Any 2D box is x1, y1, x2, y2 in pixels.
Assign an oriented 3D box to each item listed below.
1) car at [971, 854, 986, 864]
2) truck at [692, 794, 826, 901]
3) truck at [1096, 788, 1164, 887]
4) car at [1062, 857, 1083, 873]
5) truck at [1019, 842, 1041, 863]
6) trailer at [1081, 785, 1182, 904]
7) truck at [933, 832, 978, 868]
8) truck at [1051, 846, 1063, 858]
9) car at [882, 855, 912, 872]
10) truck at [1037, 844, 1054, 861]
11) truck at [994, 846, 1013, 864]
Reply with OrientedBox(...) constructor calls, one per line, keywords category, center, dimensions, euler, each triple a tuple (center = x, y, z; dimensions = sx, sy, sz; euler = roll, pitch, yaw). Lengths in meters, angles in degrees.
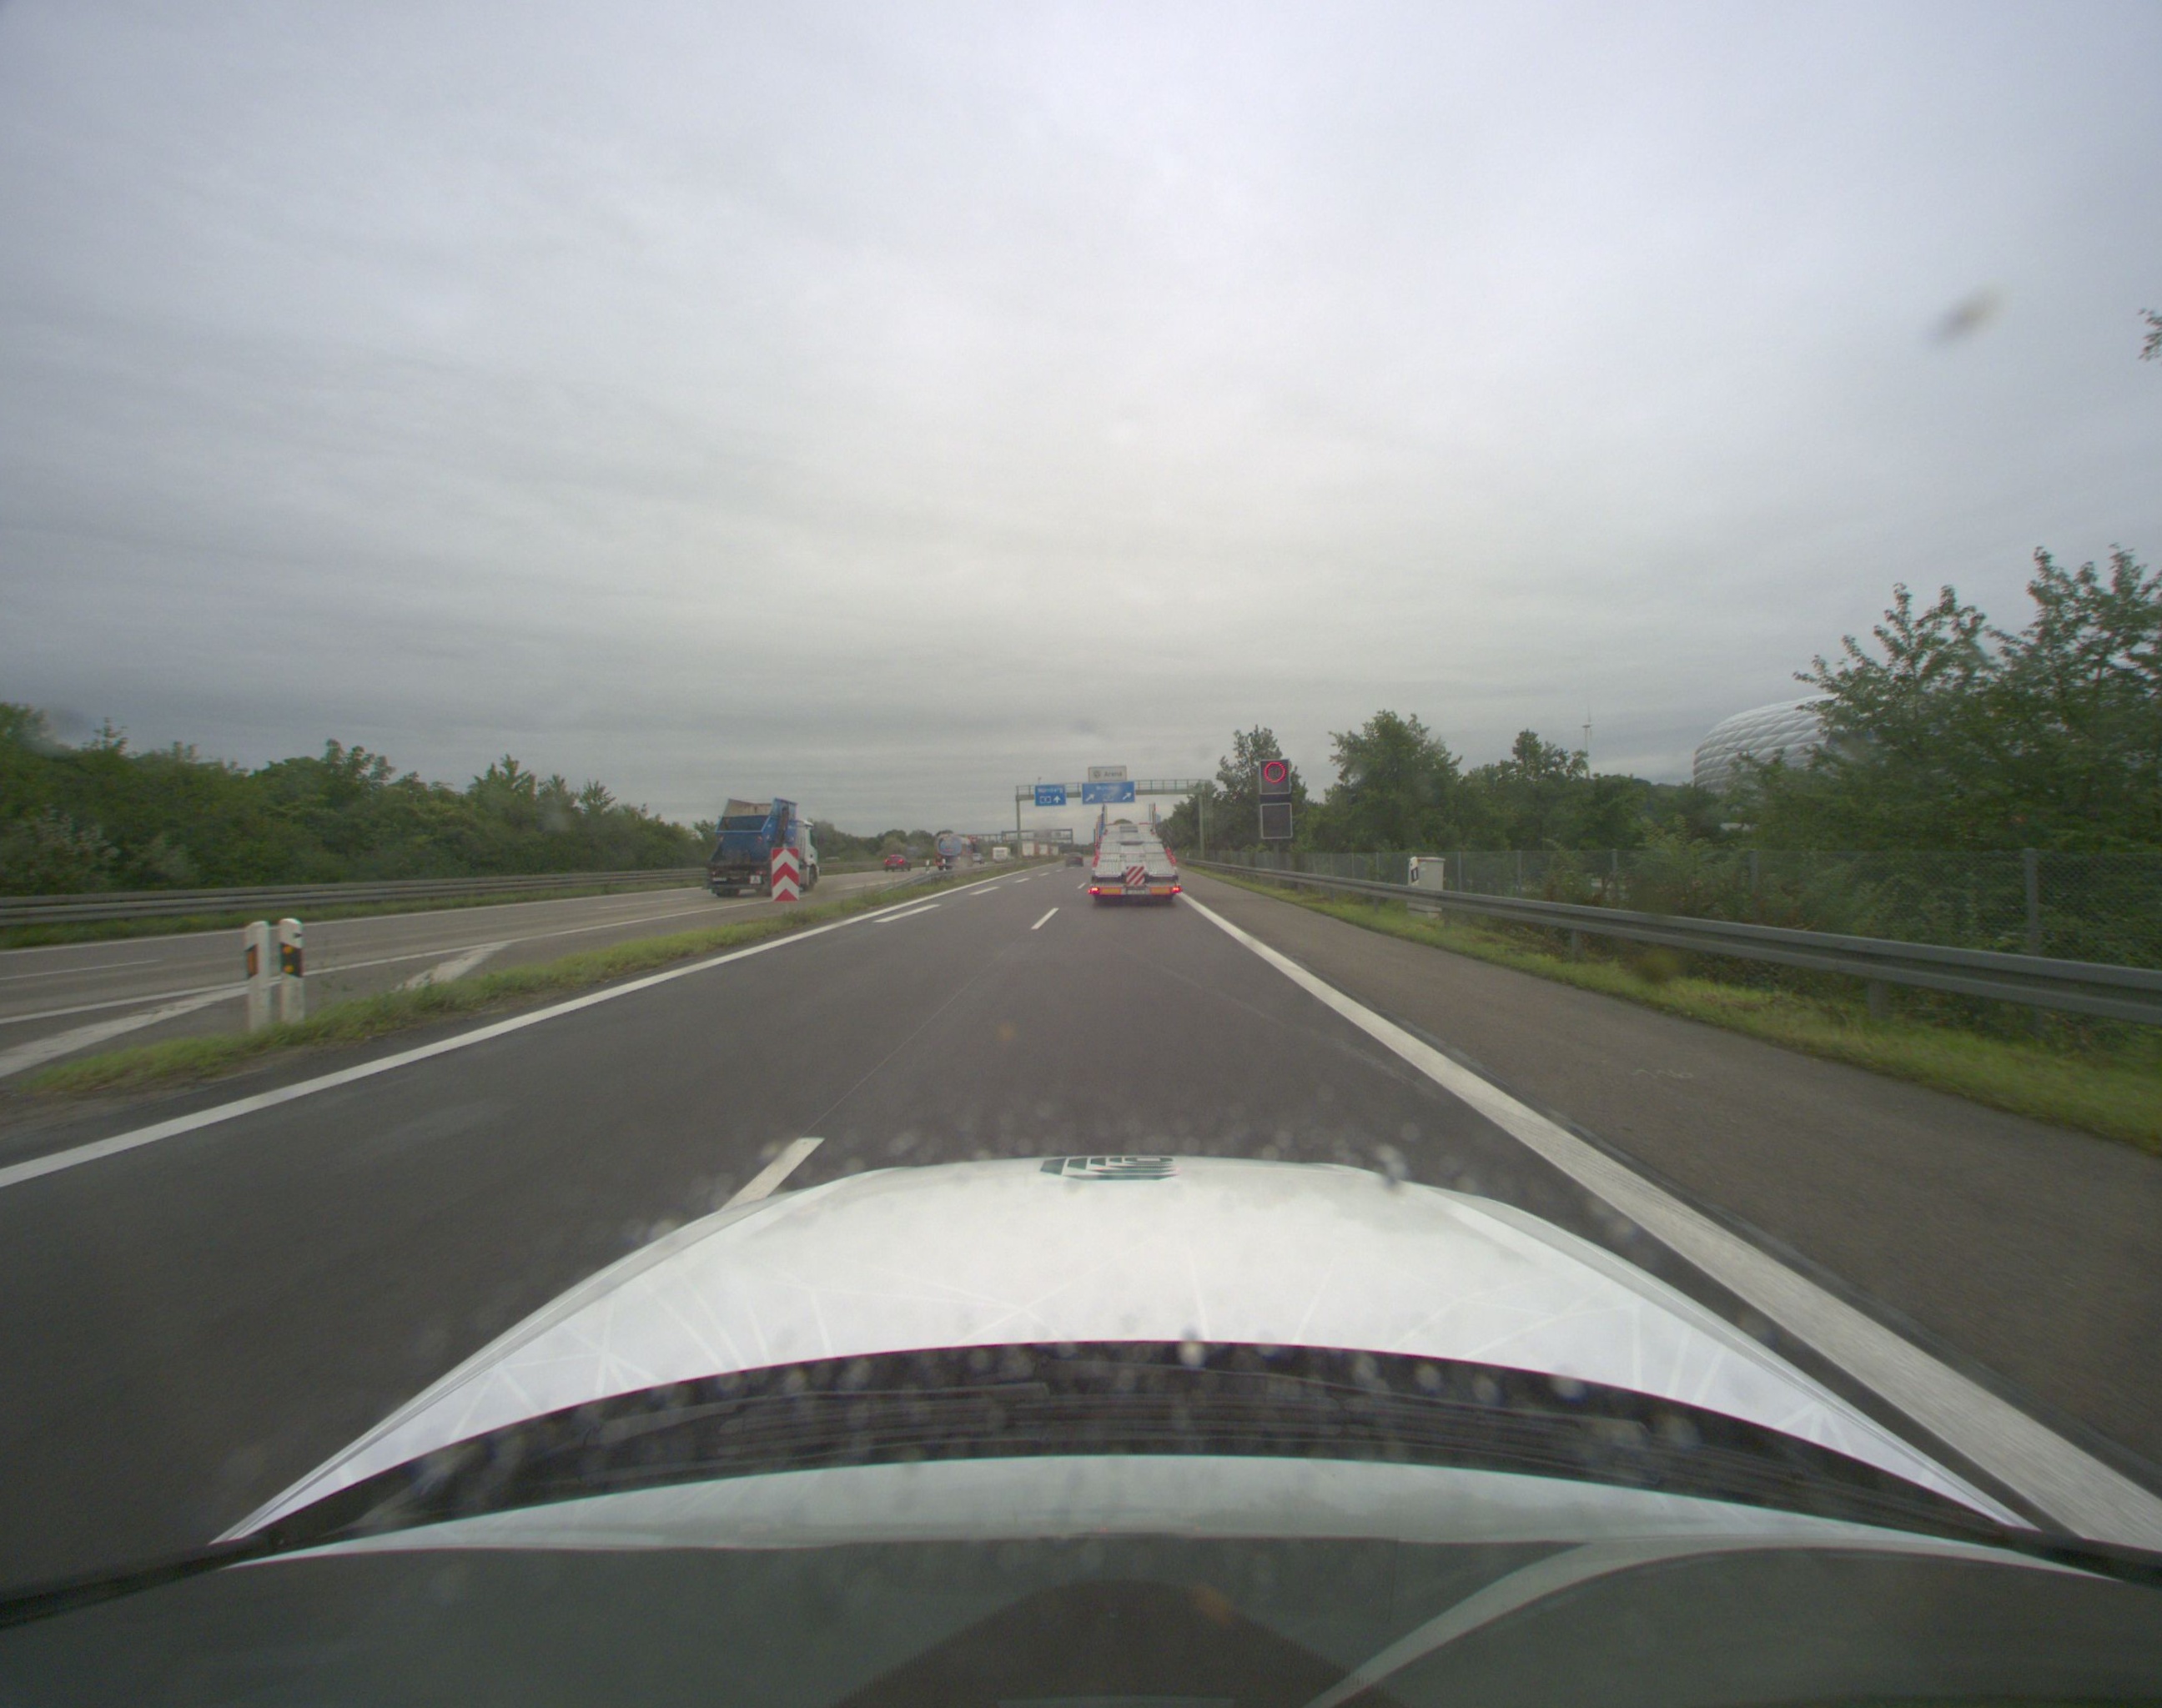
OrientedBox(category="car", center=(-15.905, 0.826, 126.293), dimensions=(1.677, 1.530, 4.000), euler=(0, 0, 0))
OrientedBox(category="truck", center=(-12.690, -0.216, 32.852), dimensions=(2.631, 3.812, 7.338), euler=(0, -1, -2))
OrientedBox(category="truck", center=(2.255, -0.689, 37.542), dimensions=(2.727, 3.967, 9.137), euler=(0, 0, 3))
OrientedBox(category="car", center=(-0.815, 1.180, 85.804), dimensions=(1.954, 1.637, 5.627), euler=(0, 0, 2))
OrientedBox(category="truck", center=(-10.935, -0.331, 176.723), dimensions=(3.719, 4.417, 10.199), euler=(0, 0, 2))
OrientedBox(category="trailer", center=(1.687, -0.281, 27.762), dimensions=(2.766, 3.285, 10.415), euler=(0, 0, 3))
OrientedBox(category="truck", center=(-12.470, -0.360, 81.683), dimensions=(2.846, 3.365, 8.634), euler=(-1, 0, 2))
OrientedBox(category="truck", center=(-7.585, -0.549, 260.841), dimensions=(3.017, 3.685, 12.154), euler=(0, 0, 2))
OrientedBox(category="car", center=(-17.112, 0.869, 75.928), dimensions=(1.788, 1.557, 3.828), euler=(0, -1, 2))
OrientedBox(category="truck", center=(-9.556, -0.477, 221.866), dimensions=(3.719, 4.417, 11.902), euler=(0, 0, 2))
OrientedBox(category="truck", center=(-11.979, 0.136, 125.705), dimensions=(2.234, 2.704, 5.281), euler=(0, 0, 2))
